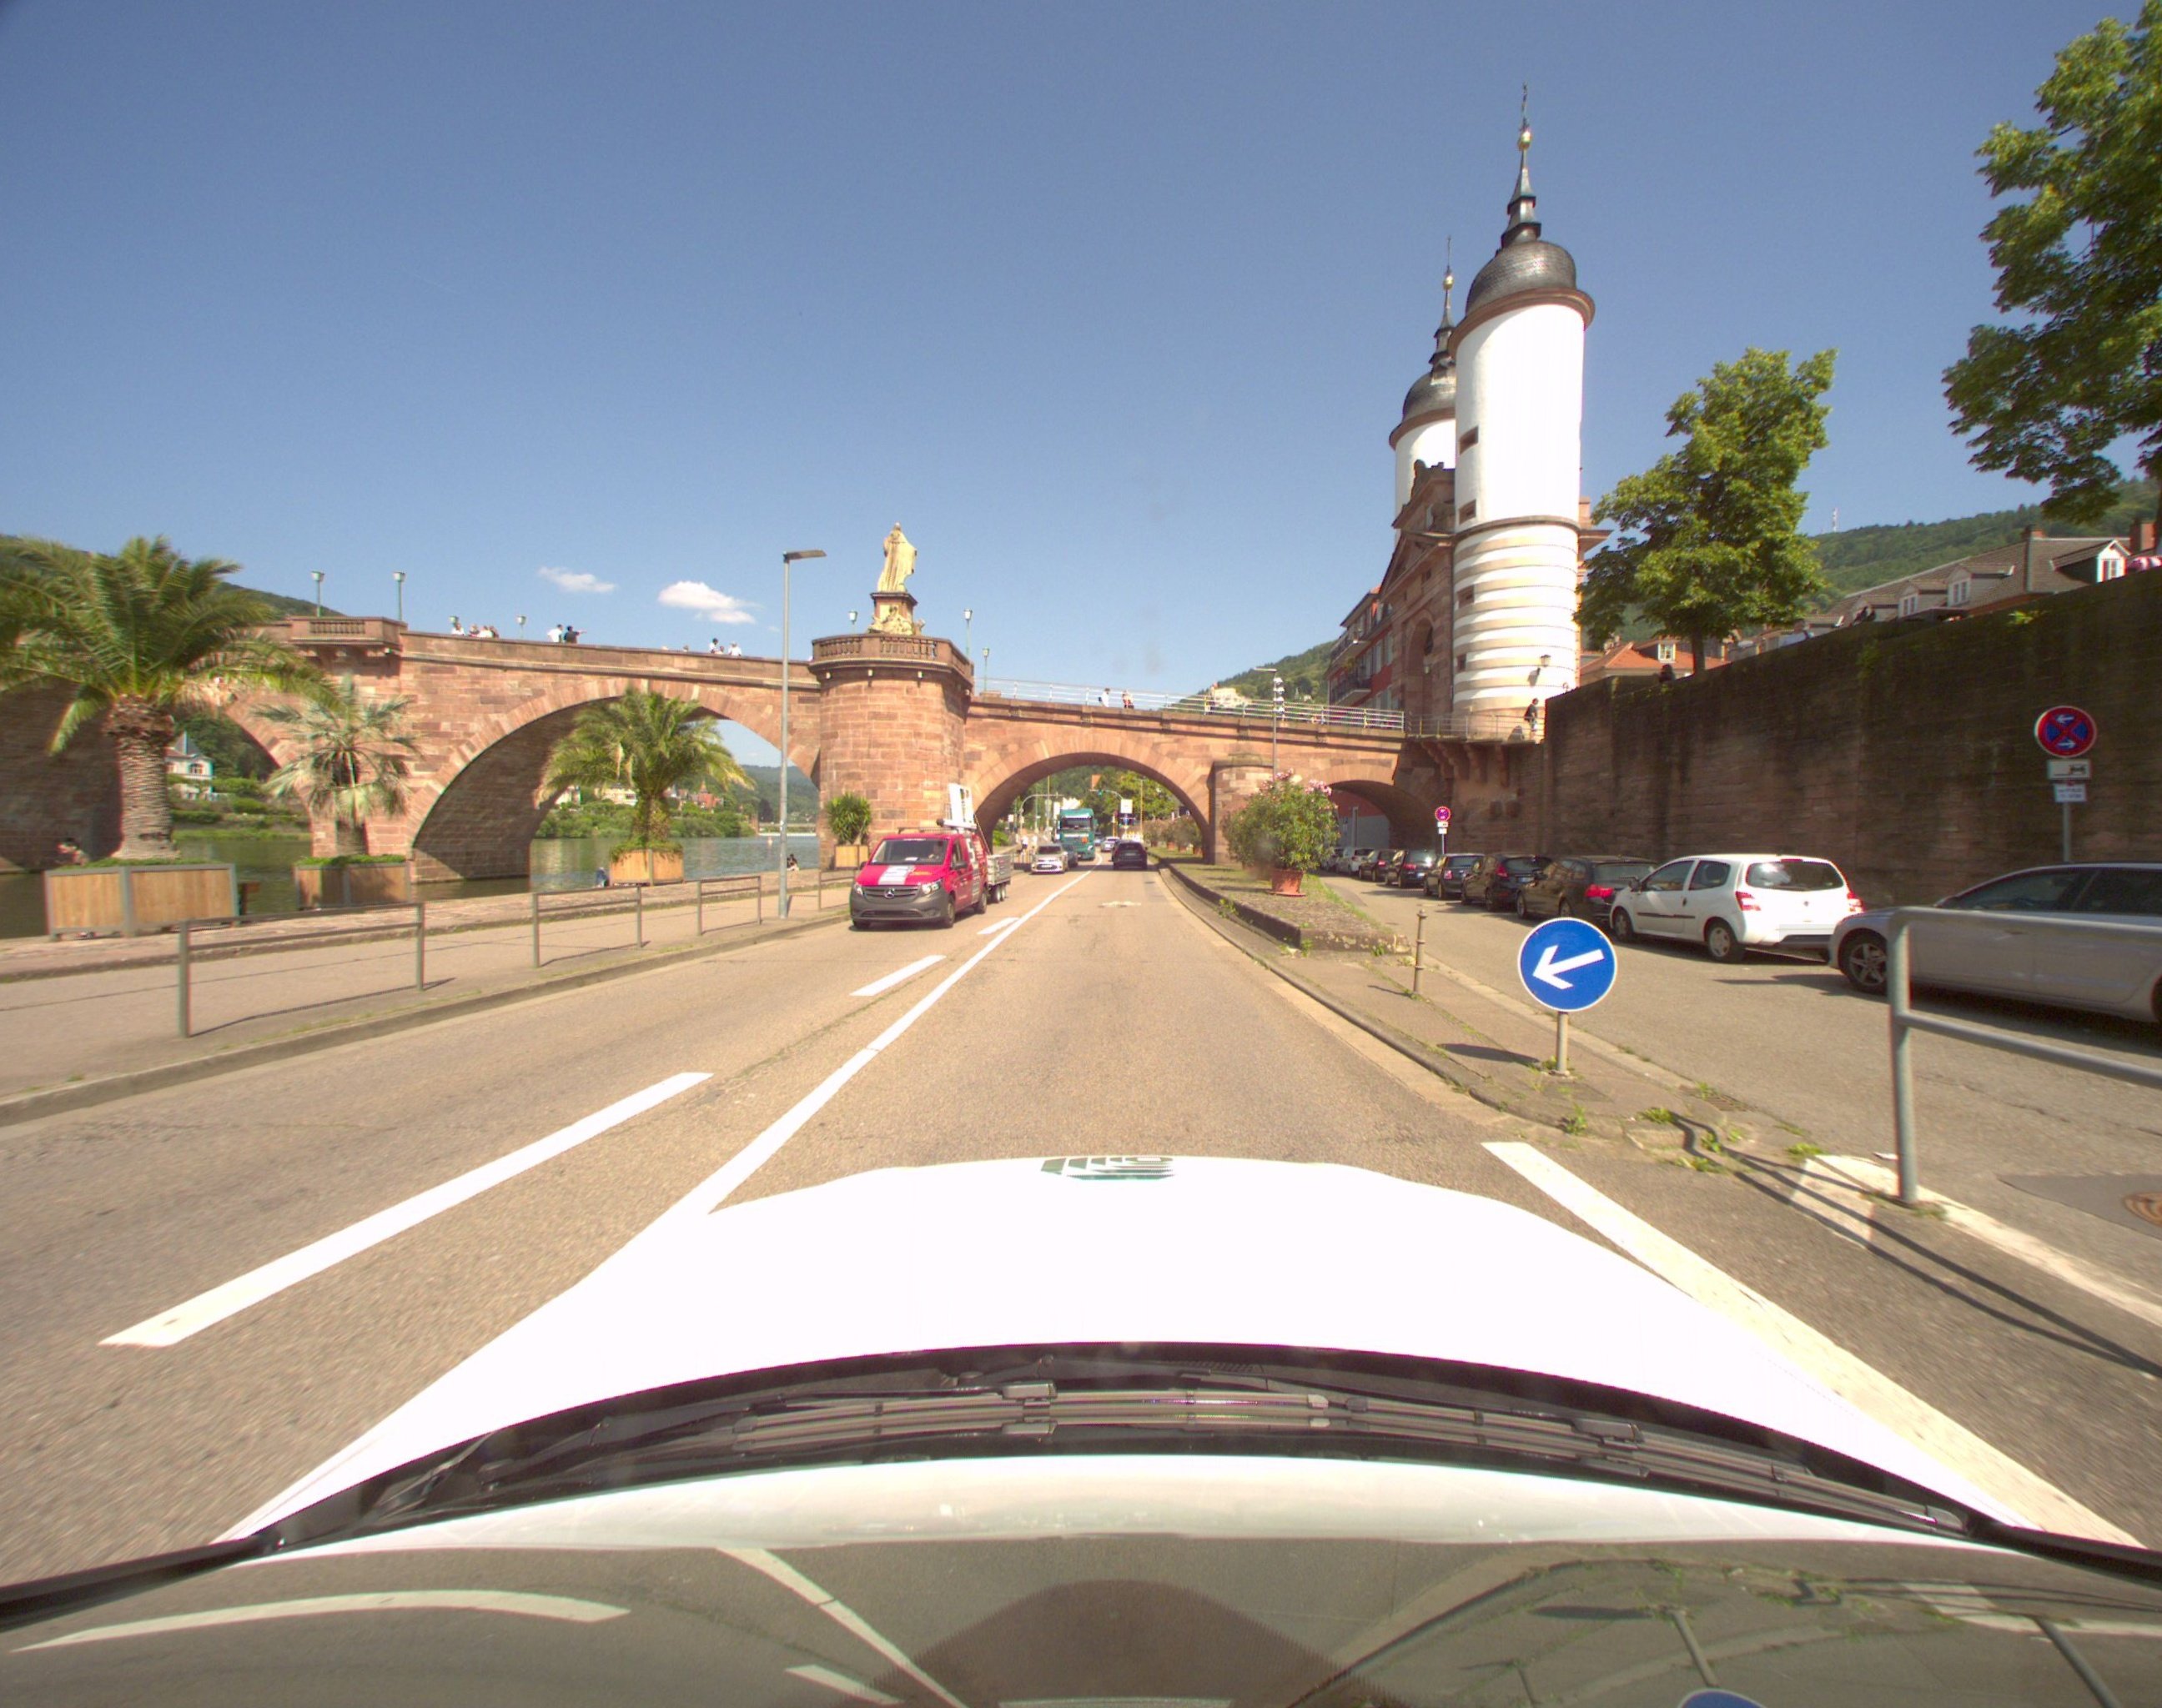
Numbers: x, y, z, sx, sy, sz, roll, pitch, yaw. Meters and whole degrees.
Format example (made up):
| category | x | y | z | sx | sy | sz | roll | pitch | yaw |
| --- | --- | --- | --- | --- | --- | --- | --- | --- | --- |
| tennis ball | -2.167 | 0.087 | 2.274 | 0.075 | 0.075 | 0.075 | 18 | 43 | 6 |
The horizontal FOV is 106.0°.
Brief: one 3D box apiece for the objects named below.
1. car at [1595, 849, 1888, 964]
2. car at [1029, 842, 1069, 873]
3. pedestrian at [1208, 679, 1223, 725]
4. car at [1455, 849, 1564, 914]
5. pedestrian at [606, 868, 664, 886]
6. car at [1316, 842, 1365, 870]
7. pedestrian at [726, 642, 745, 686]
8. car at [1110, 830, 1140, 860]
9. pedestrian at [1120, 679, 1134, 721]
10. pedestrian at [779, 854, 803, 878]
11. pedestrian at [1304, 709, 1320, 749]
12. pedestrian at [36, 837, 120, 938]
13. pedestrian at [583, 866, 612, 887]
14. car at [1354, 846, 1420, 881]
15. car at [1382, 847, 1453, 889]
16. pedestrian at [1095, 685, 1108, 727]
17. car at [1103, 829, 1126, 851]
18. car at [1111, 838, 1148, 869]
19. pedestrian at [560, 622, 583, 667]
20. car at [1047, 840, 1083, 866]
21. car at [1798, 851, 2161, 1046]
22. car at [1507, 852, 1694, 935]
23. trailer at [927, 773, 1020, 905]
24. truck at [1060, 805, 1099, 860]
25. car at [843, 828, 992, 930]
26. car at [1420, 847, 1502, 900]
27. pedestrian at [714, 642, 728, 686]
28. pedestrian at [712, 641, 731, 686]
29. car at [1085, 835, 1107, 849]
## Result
| category | x | y | z | sx | sy | sz | roll | pitch | yaw |
| --- | --- | --- | --- | --- | --- | --- | --- | --- | --- |
| car | 9.522 | 0.655 | 12.142 | 1.703 | 1.457 | 3.552 | 0 | 0 | 5 |
| car | -1.552 | 0.140 | 40.766 | 1.528 | 1.436 | 3.732 | -1 | 1 | 4 |
| pedestrian | 6.247 | -7.081 | 37.934 | 0.621 | 2.013 | 0.696 | -1 | 0 | 4 |
| car | 10.884 | 0.630 | 20.946 | 1.485 | 1.484 | 3.727 | 0 | 1 | 11 |
| pedestrian | -13.223 | 0.670 | 24.213 | 0.642 | 0.421 | 1.744 | -2 | 1 | 5 |
| car | 14.877 | 0.093 | 46.847 | 1.883 | 1.492 | 4.425 | -1 | 1 | 6 |
| pedestrian | -16.817 | -9.235 | 39.615 | 0.622 | 2.013 | 0.694 | -1 | 0 | -3 |
| car | 3.078 | -0.655 | 57.064 | 1.986 | 2.013 | 4.002 | -1 | 0 | 2 |
| pedestrian | 2.321 | -7.806 | 41.251 | 0.681 | 2.013 | 0.587 | -1 | 0 | 4 |
| pedestrian | -15.043 | 0.611 | 42.211 | 0.722 | 1.241 | 1.148 | 0 | 0 | 7 |
| pedestrian | 12.092 | -6.540 | 42.699 | 0.681 | 2.013 | 0.587 | -1 | 0 | 4 |
| pedestrian | -16.446 | 0.523 | 13.367 | 0.682 | 1.601 | 0.589 | 0 | 1 | -29 |
| pedestrian | -14.225 | 0.653 | 23.965 | 0.460 | 0.564 | 0.516 | -4 | 0 | 13 |
| car | 13.861 | 0.387 | 37.138 | 1.766 | 1.436 | 4.500 | 0 | 1 | 6 |
| car | 13.113 | 0.489 | 31.950 | 1.764 | 1.502 | 3.998 | -1 | 1 | 10 |
| pedestrian | 1.035 | -7.436 | 40.978 | 0.578 | 2.013 | 0.587 | -1 | 0 | 4 |
| car | 3.097 | -1.268 | 76.428 | 1.987 | 2.013 | 4.000 | -1 | 0 | 0 |
| car | 2.598 | -0.054 | 43.400 | 1.849 | 1.523 | 4.004 | 0 | 2 | 3 |
| pedestrian | -24.639 | -10.124 | 39.378 | 0.690 | 2.013 | 0.625 | -1 | 0 | 0 |
| car | -0.914 | -0.085 | 49.463 | 1.715 | 1.436 | 4.406 | -1 | 0 | 5 |
| car | 8.979 | 0.697 | 7.054 | 1.745 | 1.432 | 4.764 | 0 | 0 | 6 |
| car | 10.087 | 0.688 | 16.230 | 1.699 | 1.388 | 4.422 | -1 | 0 | 12 |
| trailer | -2.869 | -0.398 | 22.370 | 1.733 | 3.320 | 3.389 | -2 | 0 | 5 |
| truck | 0.001 | -1.591 | 59.944 | 2.514 | 3.748 | 6.250 | -2 | 2 | 2 |
| car | -3.256 | 0.424 | 17.234 | 1.866 | 1.827 | 4.550 | -1 | 1 | 5 |
| car | 11.855 | 0.556 | 25.641 | 1.580 | 1.520 | 3.917 | 0 | 1 | 13 |
| pedestrian | -17.803 | -9.379 | 40.242 | 0.457 | 2.013 | 0.553 | -1 | 0 | -3 |
| pedestrian | -17.427 | -9.228 | 39.478 | 0.622 | 2.013 | 0.694 | -1 | 0 | -3 |
| car | 1.702 | -1.363 | 94.568 | 1.991 | 1.662 | 3.991 | 0 | 0 | -7 |
